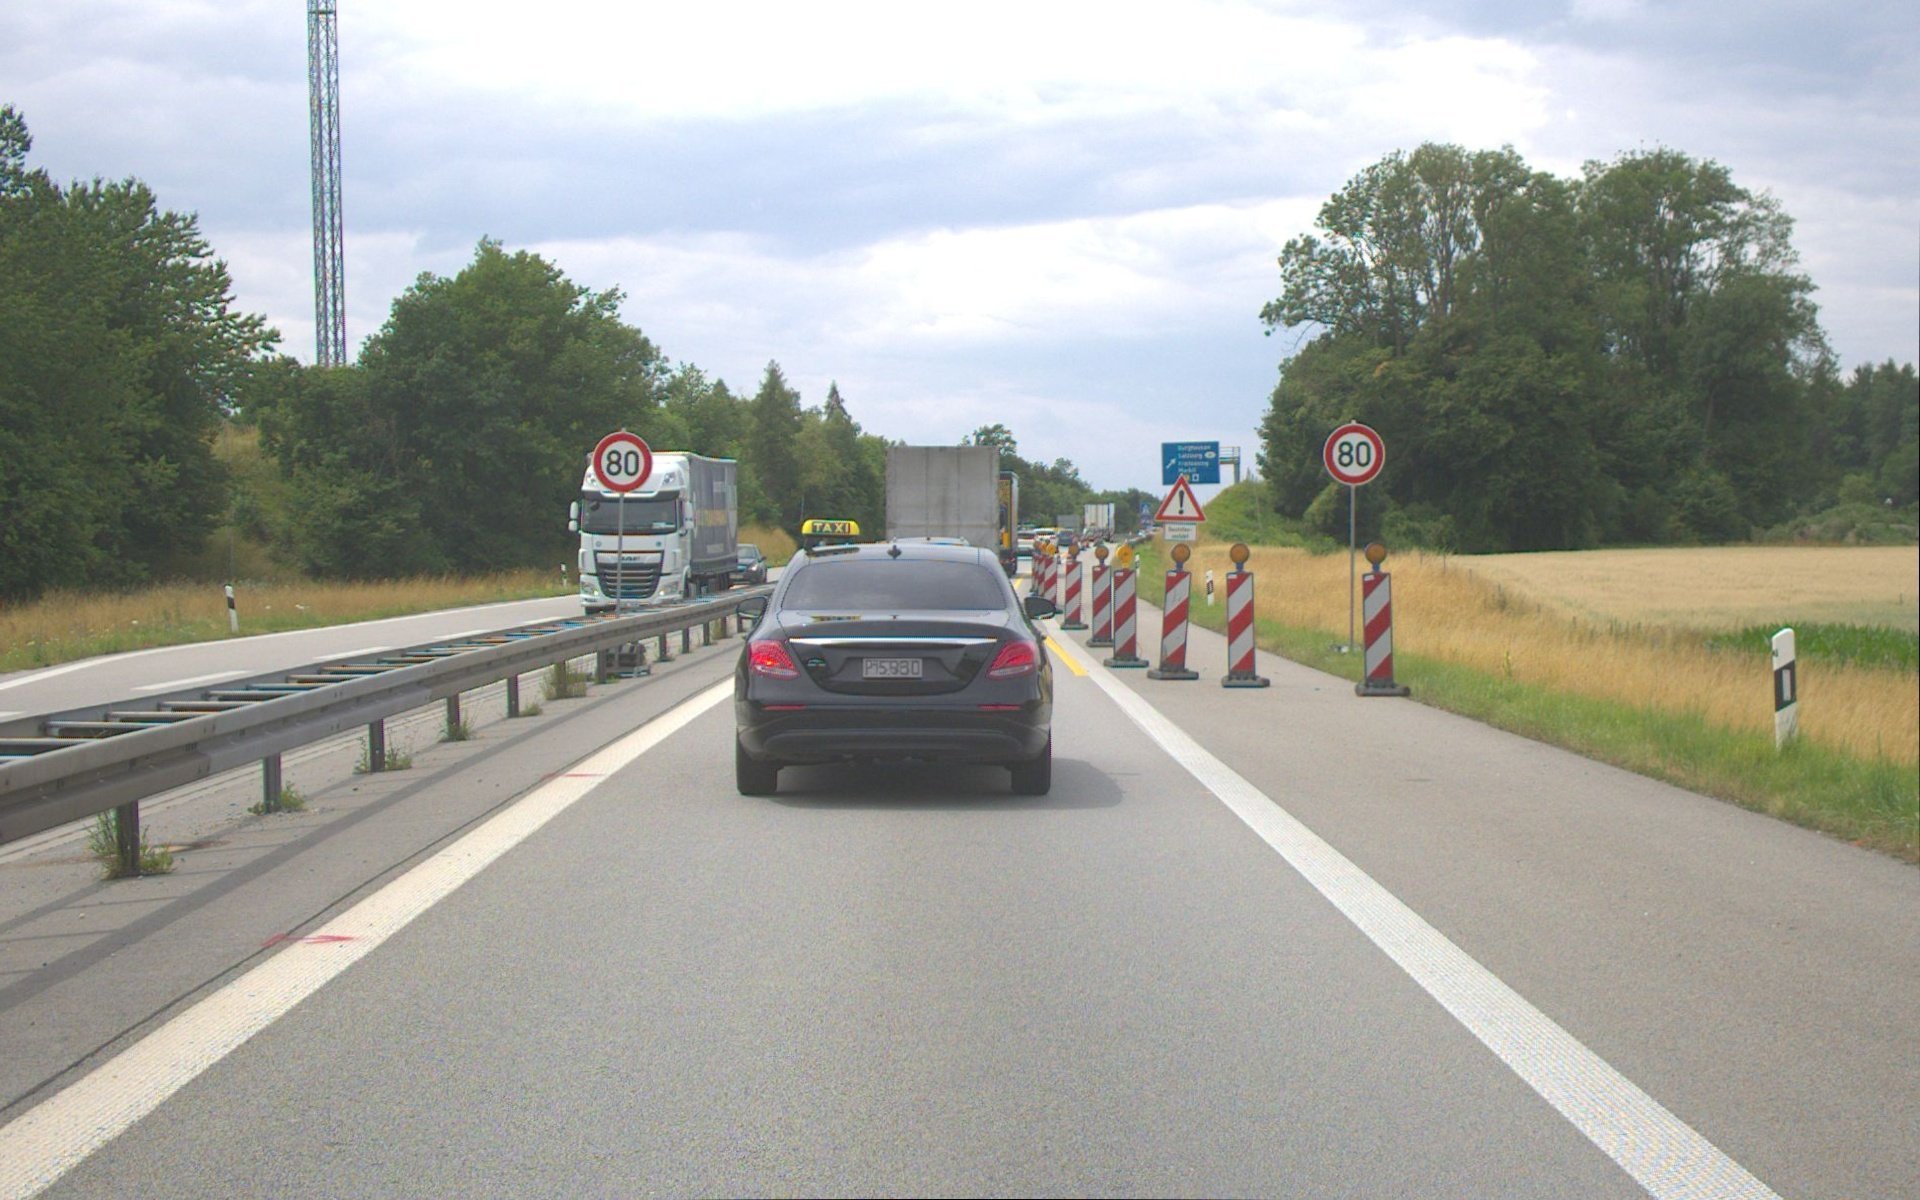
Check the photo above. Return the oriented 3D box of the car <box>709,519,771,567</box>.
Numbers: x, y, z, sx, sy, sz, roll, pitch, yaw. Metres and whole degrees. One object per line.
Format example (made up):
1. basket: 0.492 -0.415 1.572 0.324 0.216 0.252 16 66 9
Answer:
1. car: -7.931 -2.048 124.214 1.993 1.678 4.234 1 0 0

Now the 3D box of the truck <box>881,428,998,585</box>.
1. truck: -0.485 -2.132 79.812 2.587 3.512 4.813 1 0 0

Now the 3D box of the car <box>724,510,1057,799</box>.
1. car: -0.418 0.280 20.692 1.795 1.554 4.000 1 0 -1

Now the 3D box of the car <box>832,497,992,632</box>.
1. car: -0.793 -0.550 53.779 1.993 2.007 4.001 1 0 -8

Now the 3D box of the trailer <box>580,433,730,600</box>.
1. trailer: -8.083 -2.141 92.821 2.798 4.158 13.564 1 0 0

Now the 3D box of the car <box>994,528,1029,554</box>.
1. car: 2.887 -3.328 193.470 1.649 1.391 3.706 1 0 -3

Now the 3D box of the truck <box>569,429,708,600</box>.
1. truck: -8.066 -2.115 87.107 2.798 4.128 7.229 1 0 0
